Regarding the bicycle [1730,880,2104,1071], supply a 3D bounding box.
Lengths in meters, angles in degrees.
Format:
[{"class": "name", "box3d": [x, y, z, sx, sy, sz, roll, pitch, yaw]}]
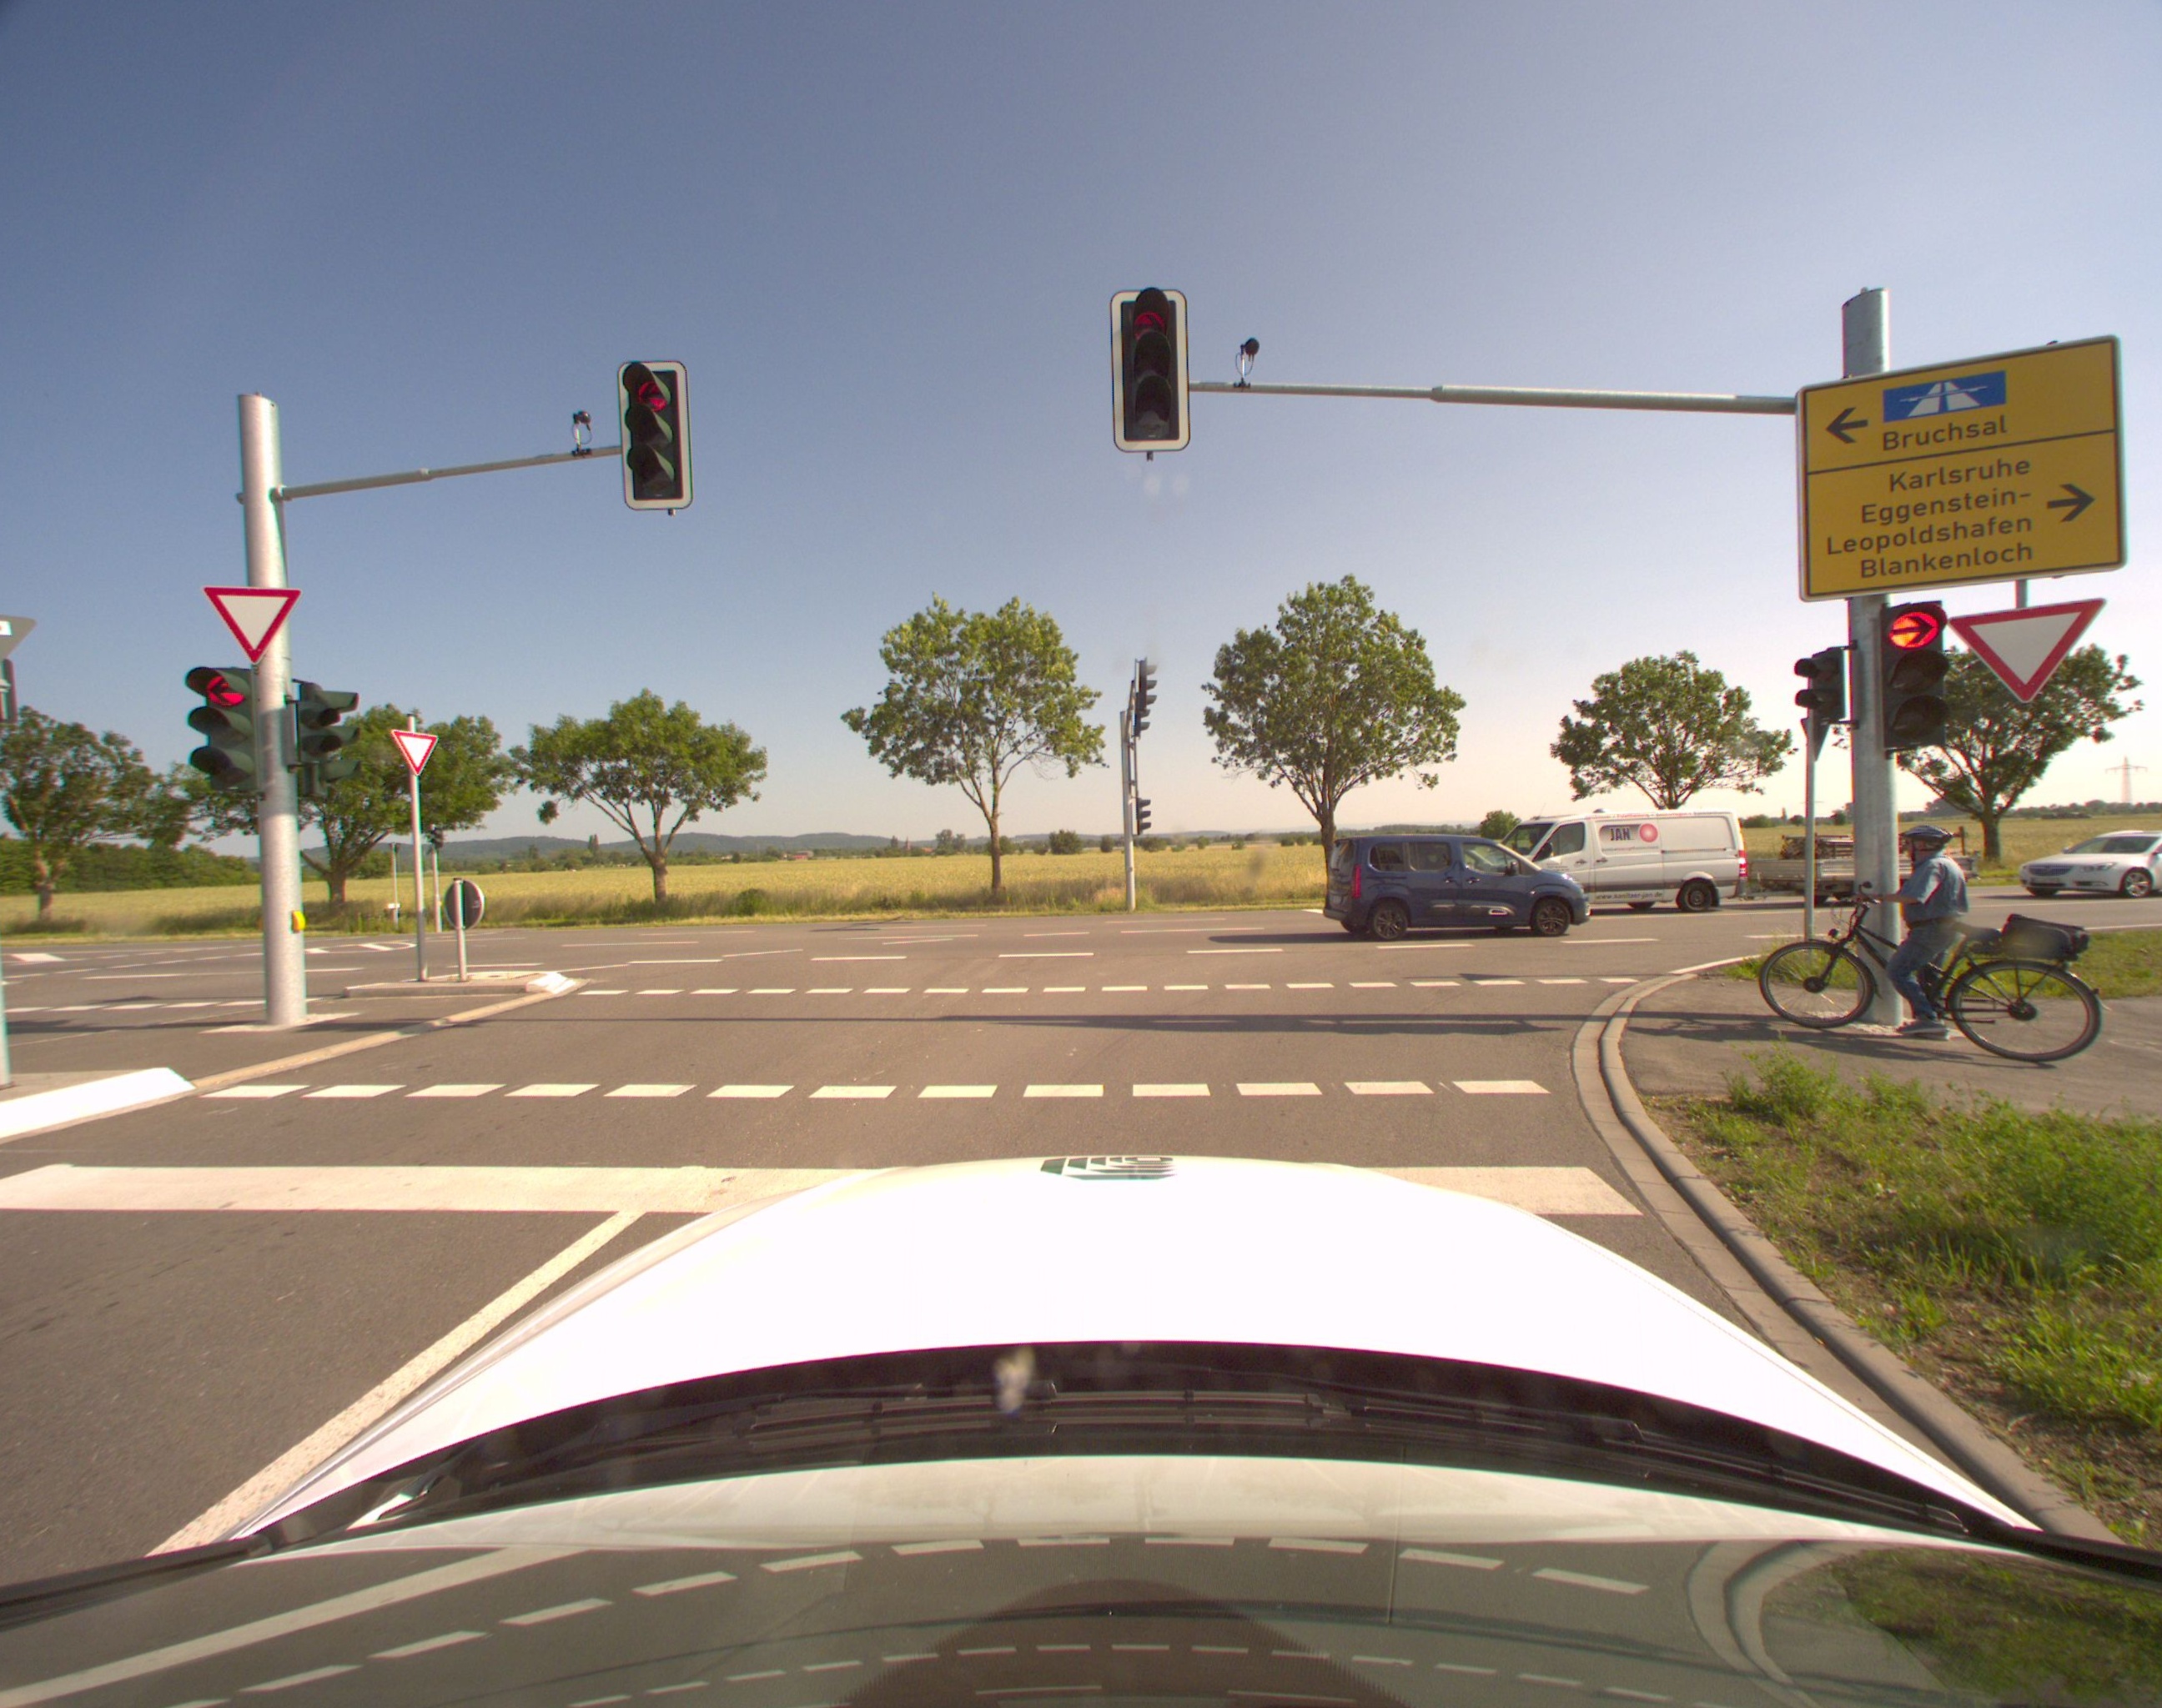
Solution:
[{"class": "bicycle", "box3d": [6.338, 0.835, 6.328, 0.685, 1.151, 1.922, 0, 2, -44]}]

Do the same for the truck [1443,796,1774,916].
[{"class": "truck", "box3d": [11.868, 0.055, 18.654, 6.157, 2.405, 2.071, -2, -1, 0]}]

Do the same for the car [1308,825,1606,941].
[{"class": "car", "box3d": [6.539, 0.499, 14.549, 4.437, 1.834, 1.846, -1, -1, 1]}]

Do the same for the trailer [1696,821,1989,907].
[{"class": "trailer", "box3d": [17.413, 0.222, 18.796, 4.983, 1.738, 1.979, -2, -1, -2]}]

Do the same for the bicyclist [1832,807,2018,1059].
[{"class": "bicyclist", "box3d": [6.439, 0.541, 6.252, 0.623, 1.765, 0.906, 0, 1, -44]}]

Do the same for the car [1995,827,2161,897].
[{"class": "car", "box3d": [24.555, 0.135, 18.978, 4.682, 1.492, 1.763, -2, -1, -3]}]
